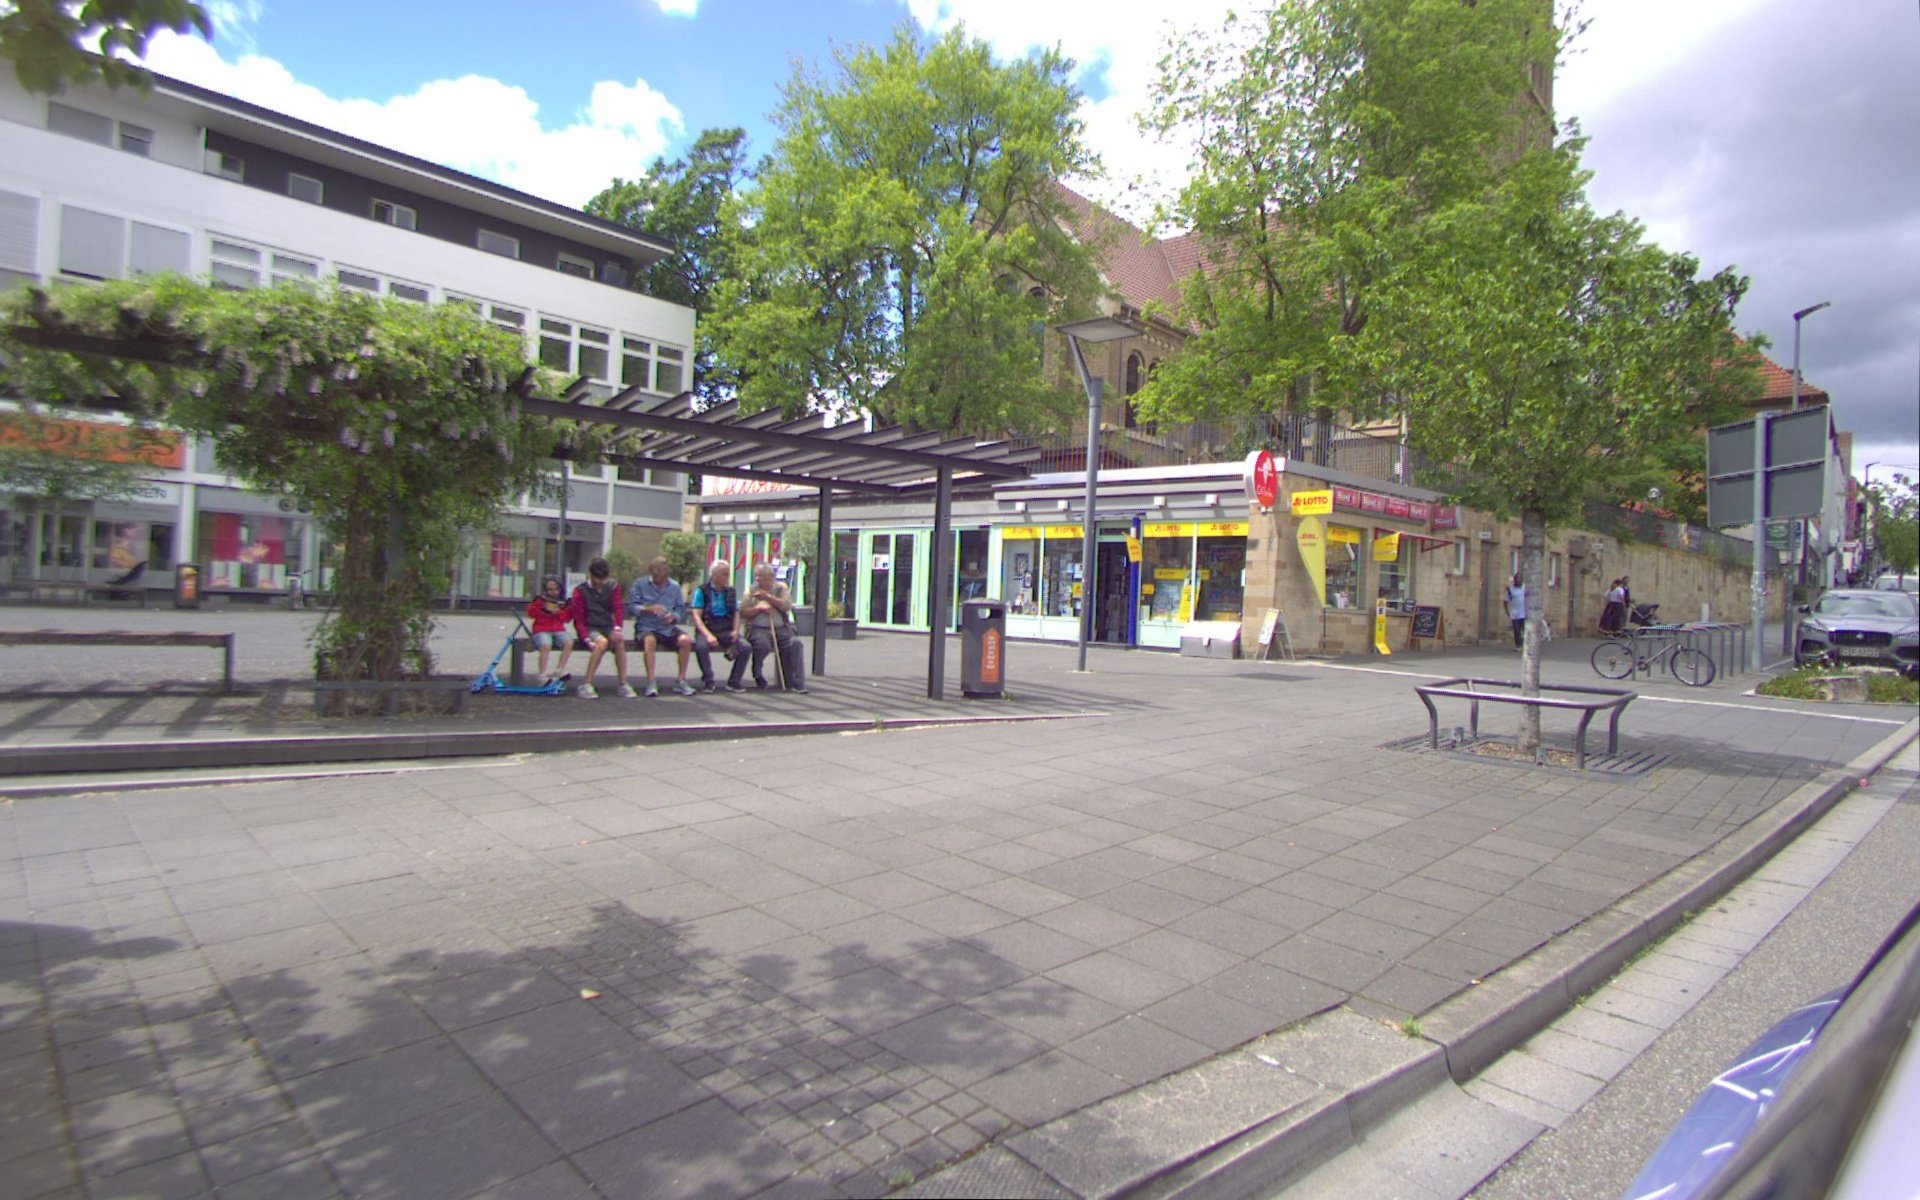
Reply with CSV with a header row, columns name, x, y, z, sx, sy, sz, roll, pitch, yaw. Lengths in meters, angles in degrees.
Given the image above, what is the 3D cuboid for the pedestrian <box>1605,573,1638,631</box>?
name,x,y,z,sx,sy,sz,roll,pitch,yaw
pedestrian,18.002,0.048,27.532,0.574,1.542,0.589,0,1,-41

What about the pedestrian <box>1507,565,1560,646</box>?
name,x,y,z,sx,sy,sz,roll,pitch,yaw
pedestrian,12.786,0.119,22.584,0.748,1.752,0.597,2,2,3

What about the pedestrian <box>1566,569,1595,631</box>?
name,x,y,z,sx,sy,sz,roll,pitch,yaw
pedestrian,17.030,-0.010,27.774,0.497,1.666,0.474,-1,2,-34

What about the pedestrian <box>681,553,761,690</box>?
name,x,y,z,sx,sy,sz,roll,pitch,yaw
pedestrian,-2.408,0.214,10.199,0.564,1.337,0.496,4,-1,-37

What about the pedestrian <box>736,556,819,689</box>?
name,x,y,z,sx,sy,sz,roll,pitch,yaw
pedestrian,-1.912,0.230,10.587,0.575,1.337,0.618,4,-1,-37

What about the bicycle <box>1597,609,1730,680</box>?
name,x,y,z,sx,sy,sz,roll,pitch,yaw
bicycle,11.447,0.706,16.503,1.726,1.008,0.340,3,2,41

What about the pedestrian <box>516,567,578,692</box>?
name,x,y,z,sx,sy,sz,roll,pitch,yaw
pedestrian,-3.780,0.261,9.253,0.361,1.102,0.477,4,-1,-36

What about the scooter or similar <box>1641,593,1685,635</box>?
name,x,y,z,sx,sy,sz,roll,pitch,yaw
scooter or similar,19.247,0.374,27.709,0.549,1.085,0.815,-1,3,-34

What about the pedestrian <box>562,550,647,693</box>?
name,x,y,z,sx,sy,sz,roll,pitch,yaw
pedestrian,-3.303,0.196,9.398,0.531,1.278,0.570,4,-1,-36

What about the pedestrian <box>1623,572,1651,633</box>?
name,x,y,z,sx,sy,sz,roll,pitch,yaw
pedestrian,18.870,0.060,28.207,0.497,1.666,0.474,-1,2,-34

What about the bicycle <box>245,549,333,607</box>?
name,x,y,z,sx,sy,sz,roll,pitch,yaw
bicycle,-16.740,-0.545,25.256,2.000,1.323,0.684,3,1,17

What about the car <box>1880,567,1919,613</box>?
name,x,y,z,sx,sy,sz,roll,pitch,yaw
car,42.070,-0.492,44.470,4.944,1.870,1.888,-2,4,-42

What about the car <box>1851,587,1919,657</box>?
name,x,y,z,sx,sy,sz,roll,pitch,yaw
car,22.826,0.471,24.385,4.300,1.434,1.682,-3,3,-44

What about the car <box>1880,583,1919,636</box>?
name,x,y,z,sx,sy,sz,roll,pitch,yaw
car,29.970,0.272,31.619,1.754,1.458,4.028,3,4,42

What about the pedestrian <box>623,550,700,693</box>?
name,x,y,z,sx,sy,sz,roll,pitch,yaw
pedestrian,-2.902,0.202,9.826,0.515,1.337,0.500,4,-1,-36

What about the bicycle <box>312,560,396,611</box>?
name,x,y,z,sx,sy,sz,roll,pitch,yaw
bicycle,-15.699,-0.381,26.219,2.000,1.156,0.684,4,1,17

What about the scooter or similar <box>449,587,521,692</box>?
name,x,y,z,sx,sy,sz,roll,pitch,yaw
scooter or similar,-4.266,0.349,9.100,0.497,0.905,0.249,3,-1,-10

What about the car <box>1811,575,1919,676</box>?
name,x,y,z,sx,sy,sz,roll,pitch,yaw
car,18.161,0.428,19.886,1.929,1.745,4.502,3,3,43
